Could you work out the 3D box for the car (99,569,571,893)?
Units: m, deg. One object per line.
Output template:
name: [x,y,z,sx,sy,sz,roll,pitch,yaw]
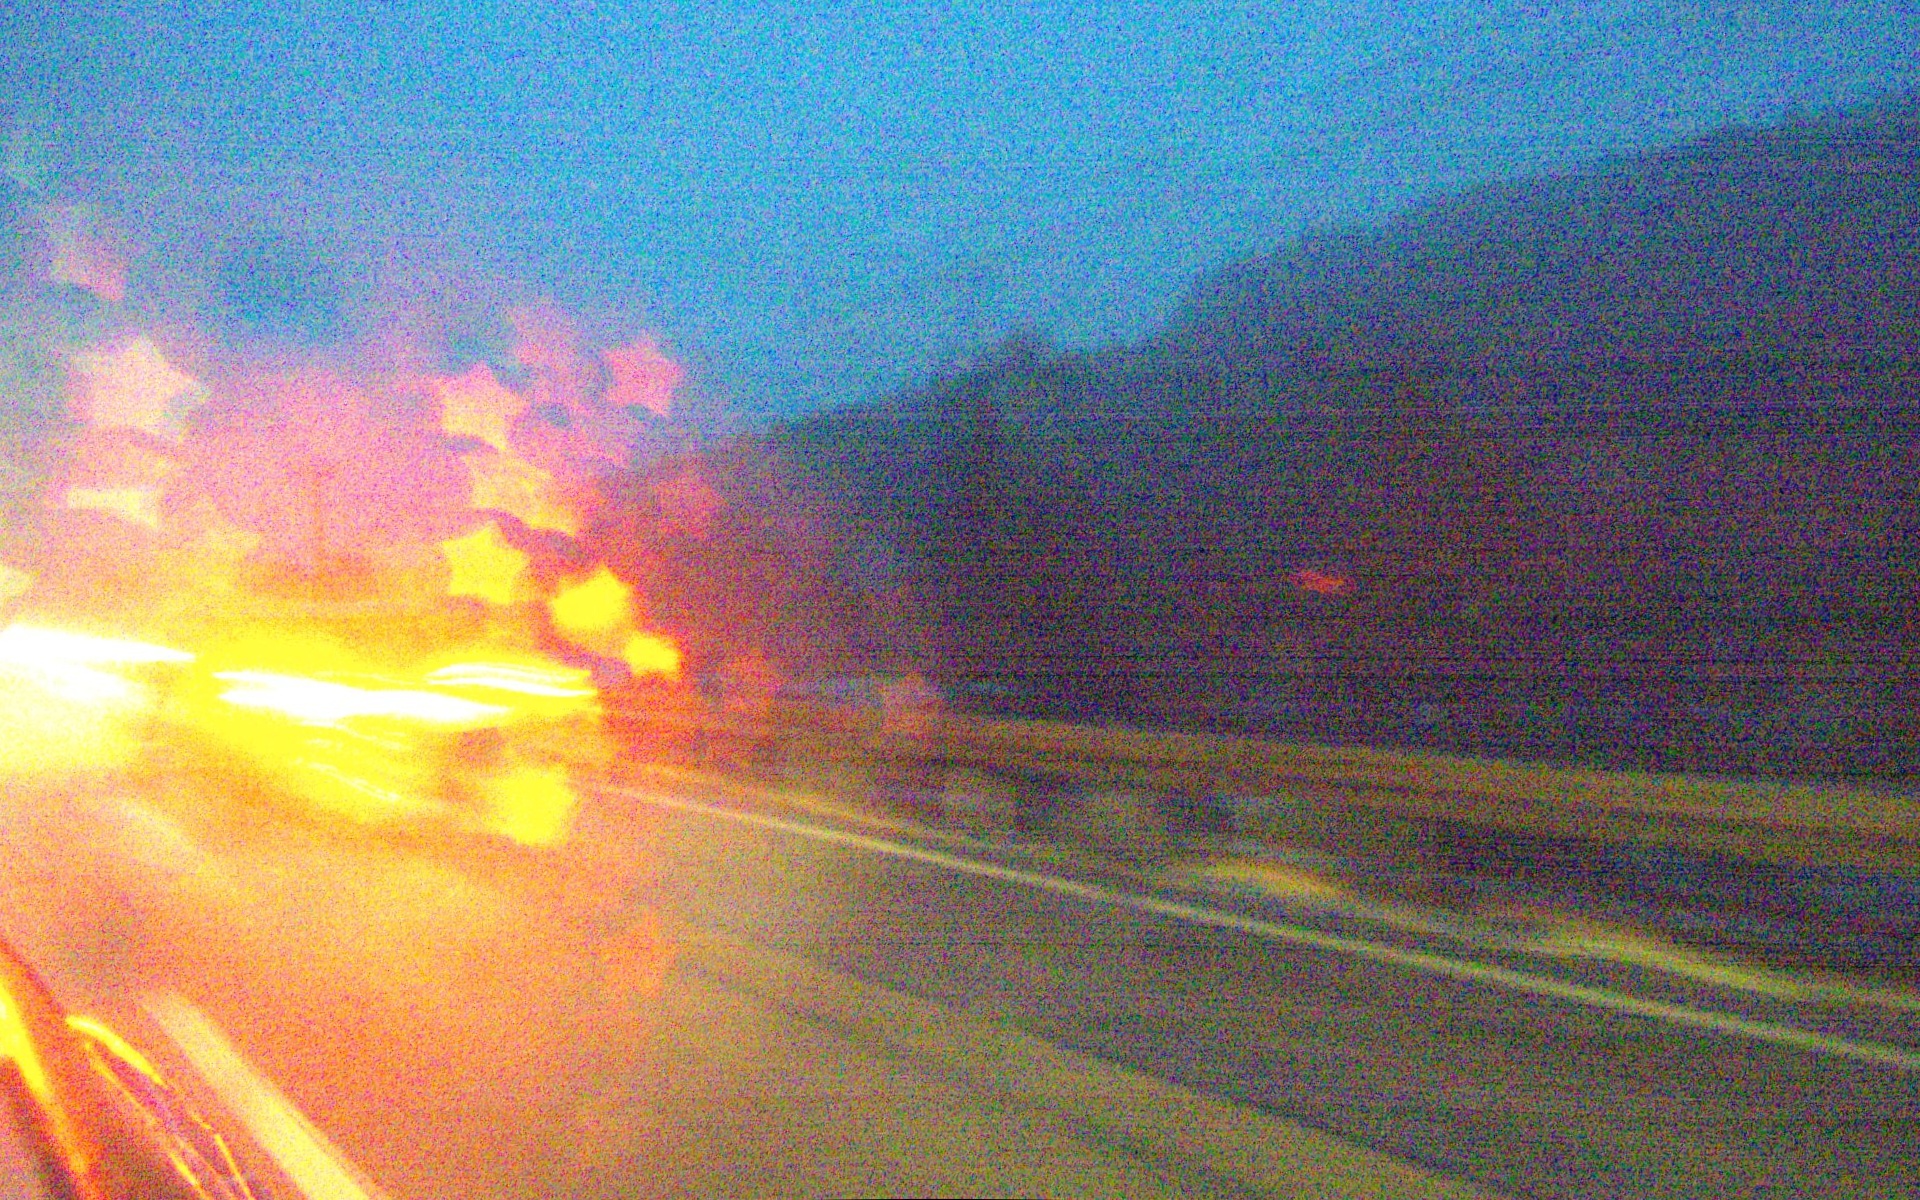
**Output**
car: [-4.654,0.695,7.280,4.052,1.687,1.753,-1,0,41]
